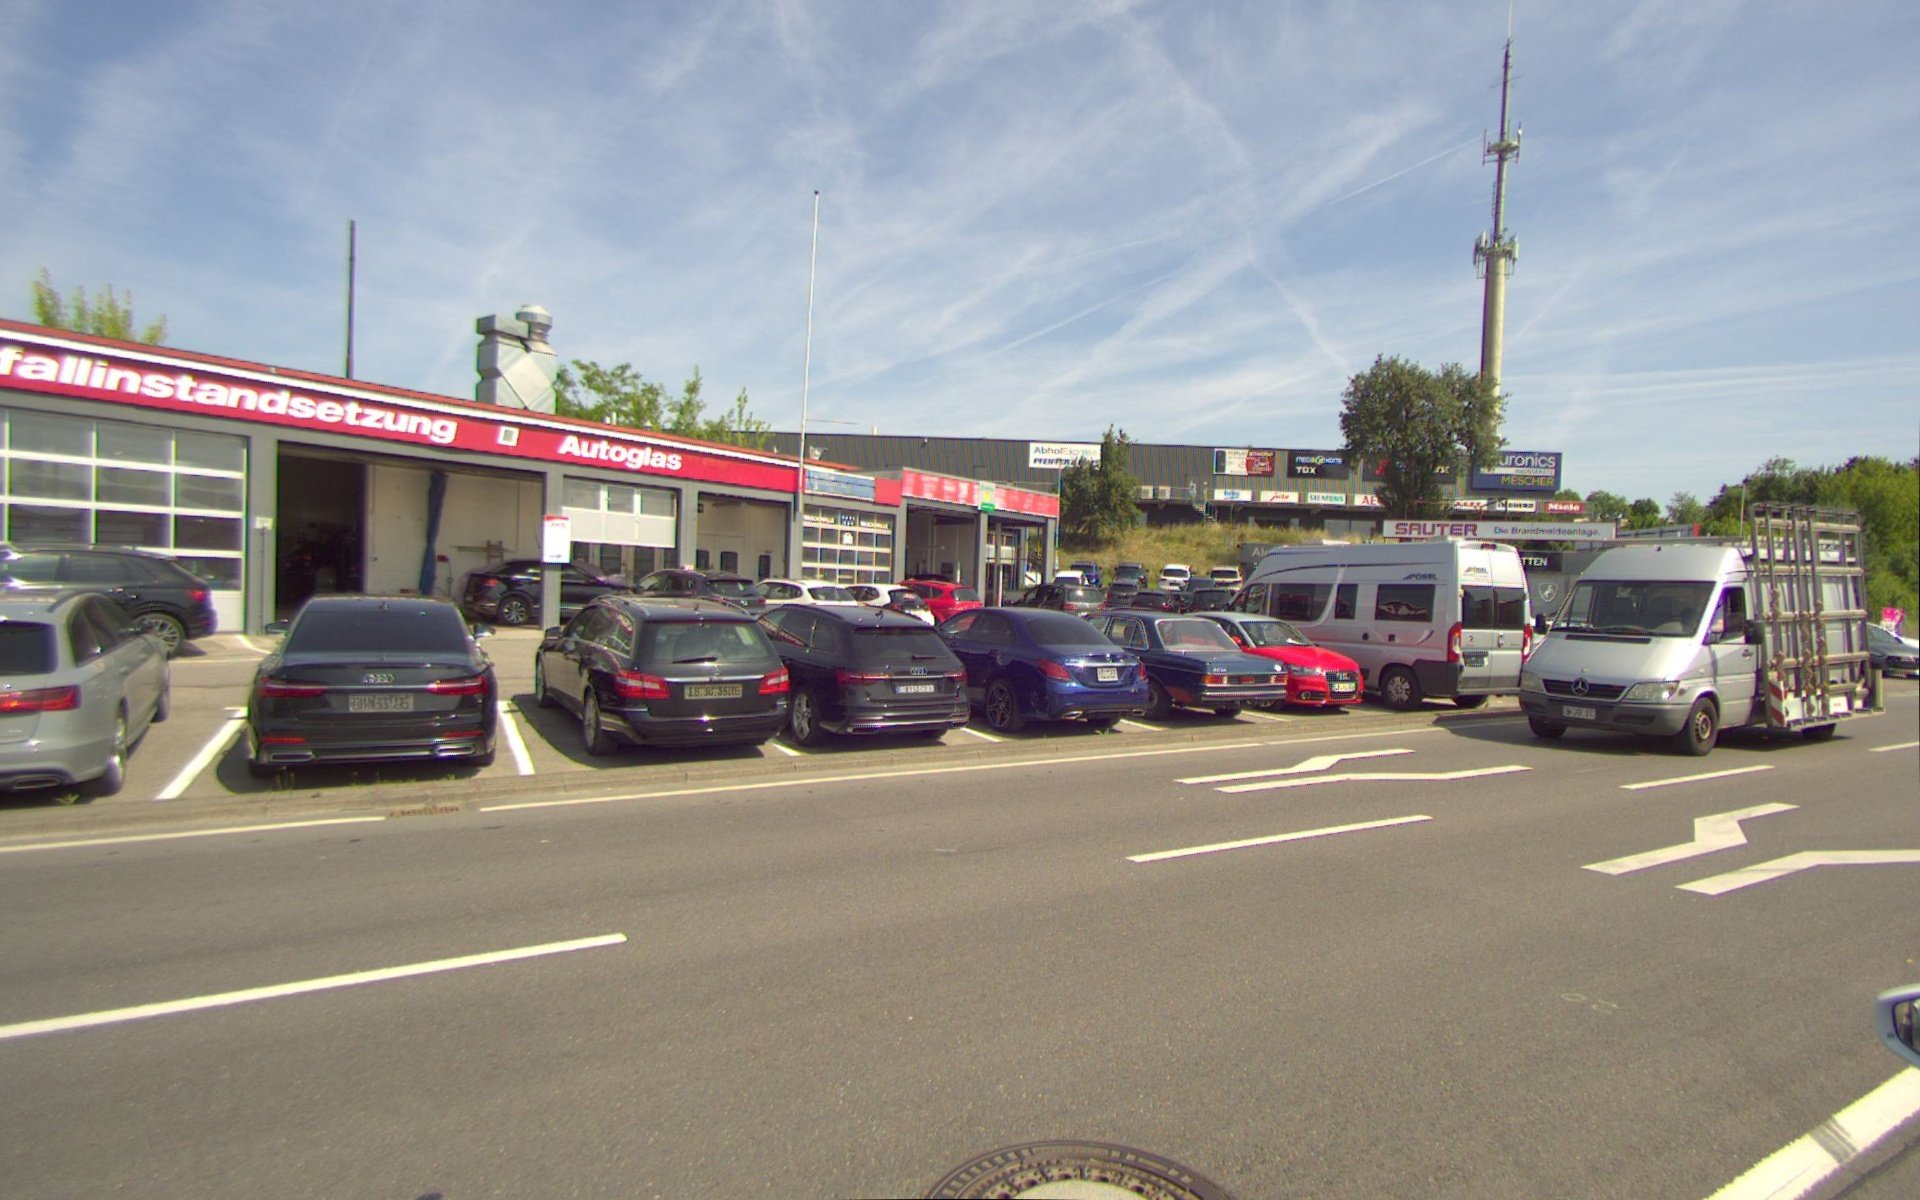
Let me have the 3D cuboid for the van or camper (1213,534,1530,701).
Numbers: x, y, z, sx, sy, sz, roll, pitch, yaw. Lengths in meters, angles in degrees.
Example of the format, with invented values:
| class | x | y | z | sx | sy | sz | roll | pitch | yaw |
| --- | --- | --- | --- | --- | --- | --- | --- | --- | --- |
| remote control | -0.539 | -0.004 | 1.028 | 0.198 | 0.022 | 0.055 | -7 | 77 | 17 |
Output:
| class | x | y | z | sx | sy | sz | roll | pitch | yaw |
| --- | --- | --- | --- | --- | --- | --- | --- | --- | --- |
| van or camper | 8.182 | 0.271 | 20.712 | 2.263 | 2.912 | 5.863 | 0 | 1 | -30 |

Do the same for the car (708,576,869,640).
| class | x | y | z | sx | sy | sz | roll | pitch | yaw |
| --- | --- | --- | --- | --- | --- | --- | --- | --- | --- |
| car | -4.208 | 0.166 | 24.488 | 3.767 | 1.451 | 1.763 | 1 | 0 | 37 |

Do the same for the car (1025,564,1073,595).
| class | x | y | z | sx | sy | sz | roll | pitch | yaw |
| --- | --- | --- | --- | --- | --- | --- | --- | --- | --- |
| car | 4.831 | -1.087 | 53.904 | 1.702 | 1.470 | 3.749 | 2 | 0 | 18 |

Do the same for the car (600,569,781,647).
| class | x | y | z | sx | sy | sz | roll | pitch | yaw |
| --- | --- | --- | --- | --- | --- | --- | --- | --- | --- |
| car | -5.870 | 0.147 | 21.735 | 3.887 | 1.553 | 1.763 | 1 | 0 | 37 |

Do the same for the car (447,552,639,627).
| class | x | y | z | sx | sy | sz | roll | pitch | yaw |
| --- | --- | --- | --- | --- | --- | --- | --- | --- | --- |
| car | -10.295 | -0.216 | 24.945 | 3.986 | 1.694 | 1.888 | 1 | 0 | -43 |

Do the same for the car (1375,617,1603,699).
| class | x | y | z | sx | sy | sz | roll | pitch | yaw |
| --- | --- | --- | --- | --- | --- | --- | --- | --- | --- |
| car | 10.817 | 1.124 | 20.798 | 1.822 | 1.467 | 3.797 | 1 | 0 | -31 |

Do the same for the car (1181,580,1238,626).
| class | x | y | z | sx | sy | sz | roll | pitch | yaw |
| --- | --- | --- | --- | --- | --- | --- | --- | --- | --- |
| car | 9.188 | 0.119 | 37.237 | 1.733 | 1.609 | 3.831 | 1 | 0 | 9 |

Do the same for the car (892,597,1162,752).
| class | x | y | z | sx | sy | sz | roll | pitch | yaw |
| --- | --- | --- | --- | --- | --- | --- | --- | --- | --- |
| car | 0.721 | 0.821 | 13.151 | 1.688 | 1.577 | 3.687 | 0 | 3 | -32 |

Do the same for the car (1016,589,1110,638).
| class | x | y | z | sx | sy | sz | roll | pitch | yaw |
| --- | --- | --- | --- | --- | --- | --- | --- | --- | --- |
| car | 3.610 | 0.460 | 35.799 | 1.744 | 1.609 | 3.808 | 1 | 0 | -22 |

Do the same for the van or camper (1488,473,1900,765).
| class | x | y | z | sx | sy | sz | roll | pitch | yaw |
| --- | --- | --- | --- | --- | --- | --- | --- | --- | --- |
| van or camper | 9.692 | 0.260 | 13.108 | 5.833 | 3.096 | 2.197 | 1 | 0 | -30 |

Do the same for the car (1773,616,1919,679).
| class | x | y | z | sx | sy | sz | roll | pitch | yaw |
| --- | --- | --- | --- | --- | --- | --- | --- | --- | --- |
| car | 26.900 | 1.367 | 30.258 | 2.089 | 1.716 | 4.530 | 1 | 0 | 15 |

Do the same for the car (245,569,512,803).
| class | x | y | z | sx | sy | sz | roll | pitch | yaw |
| --- | --- | --- | --- | --- | --- | --- | --- | --- | --- |
| car | -5.548 | 0.600 | 9.690 | 1.777 | 1.505 | 4.276 | 1 | 4 | -30 |

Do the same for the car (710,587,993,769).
| class | x | y | z | sx | sy | sz | roll | pitch | yaw |
| --- | --- | --- | --- | --- | --- | --- | --- | --- | --- |
| car | -1.438 | 0.749 | 11.762 | 1.782 | 1.505 | 3.822 | 1 | 4 | -32 |

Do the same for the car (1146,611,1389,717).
| class | x | y | z | sx | sy | sz | roll | pitch | yaw |
| --- | --- | --- | --- | --- | --- | --- | --- | --- | --- |
| car | 4.918 | 0.961 | 16.486 | 1.790 | 1.500 | 3.577 | 1 | -1 | -29 |

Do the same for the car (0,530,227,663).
| class | x | y | z | sx | sy | sz | roll | pitch | yaw |
| --- | --- | --- | --- | --- | --- | --- | --- | --- | --- |
| car | -13.372 | -0.075 | 14.466 | 1.797 | 1.696 | 4.115 | 8 | 3 | 34 |

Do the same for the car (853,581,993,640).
| class | x | y | z | sx | sy | sz | roll | pitch | yaw |
| --- | --- | --- | --- | --- | --- | --- | --- | --- | --- |
| car | -1.105 | 0.277 | 29.043 | 3.767 | 1.609 | 1.763 | 1 | 0 | 37 |

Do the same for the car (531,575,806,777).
| class | x | y | z | sx | sy | sz | roll | pitch | yaw |
| --- | --- | --- | --- | --- | --- | --- | --- | --- | --- |
| car | -3.406 | 0.634 | 11.059 | 1.752 | 1.505 | 4.433 | 1 | 4 | -32 |

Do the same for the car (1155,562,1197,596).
| class | x | y | z | sx | sy | sz | roll | pitch | yaw |
| --- | --- | --- | --- | --- | --- | --- | --- | --- | --- |
| car | 11.215 | -1.050 | 51.925 | 1.702 | 1.558 | 3.749 | 2 | 0 | 18 |

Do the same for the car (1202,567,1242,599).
| class | x | y | z | sx | sy | sz | roll | pitch | yaw |
| --- | --- | --- | --- | --- | --- | --- | --- | --- | --- |
| car | 13.379 | -0.828 | 51.180 | 1.702 | 1.470 | 3.749 | 2 | 0 | 18 |

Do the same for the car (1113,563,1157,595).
| class | x | y | z | sx | sy | sz | roll | pitch | yaw |
| --- | --- | --- | --- | --- | --- | --- | --- | --- | --- |
| car | 9.157 | -1.082 | 52.489 | 1.702 | 1.470 | 3.749 | 2 | 0 | 18 |

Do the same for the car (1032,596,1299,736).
| class | x | y | z | sx | sy | sz | roll | pitch | yaw |
| --- | --- | --- | --- | --- | --- | --- | --- | --- | --- |
| car | 2.856 | 0.845 | 14.701 | 1.689 | 1.505 | 3.686 | 1 | 4 | -32 |

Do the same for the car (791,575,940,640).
| class | x | y | z | sx | sy | sz | roll | pitch | yaw |
| --- | --- | --- | --- | --- | --- | --- | --- | --- | --- |
| car | -2.579 | 0.178 | 26.980 | 3.767 | 1.609 | 1.763 | 1 | 0 | 37 |

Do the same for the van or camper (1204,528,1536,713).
| class | x | y | z | sx | sy | sz | roll | pitch | yaw |
| --- | --- | --- | --- | --- | --- | --- | --- | --- | --- |
| van or camper | 6.988 | 0.292 | 17.842 | 2.184 | 2.768 | 5.221 | 1 | 0 | -29 |

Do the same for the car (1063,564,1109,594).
| class | x | y | z | sx | sy | sz | roll | pitch | yaw |
| --- | --- | --- | --- | --- | --- | --- | --- | --- | --- |
| car | 6.725 | -1.094 | 53.380 | 1.702 | 1.470 | 3.749 | 2 | 0 | 18 |

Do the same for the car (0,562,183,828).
| class | x | y | z | sx | sy | sz | roll | pitch | yaw |
| --- | --- | --- | --- | --- | --- | --- | --- | --- | --- |
| car | -7.682 | 0.563 | 8.079 | 1.816 | 1.505 | 4.252 | 1 | 4 | -32 |
